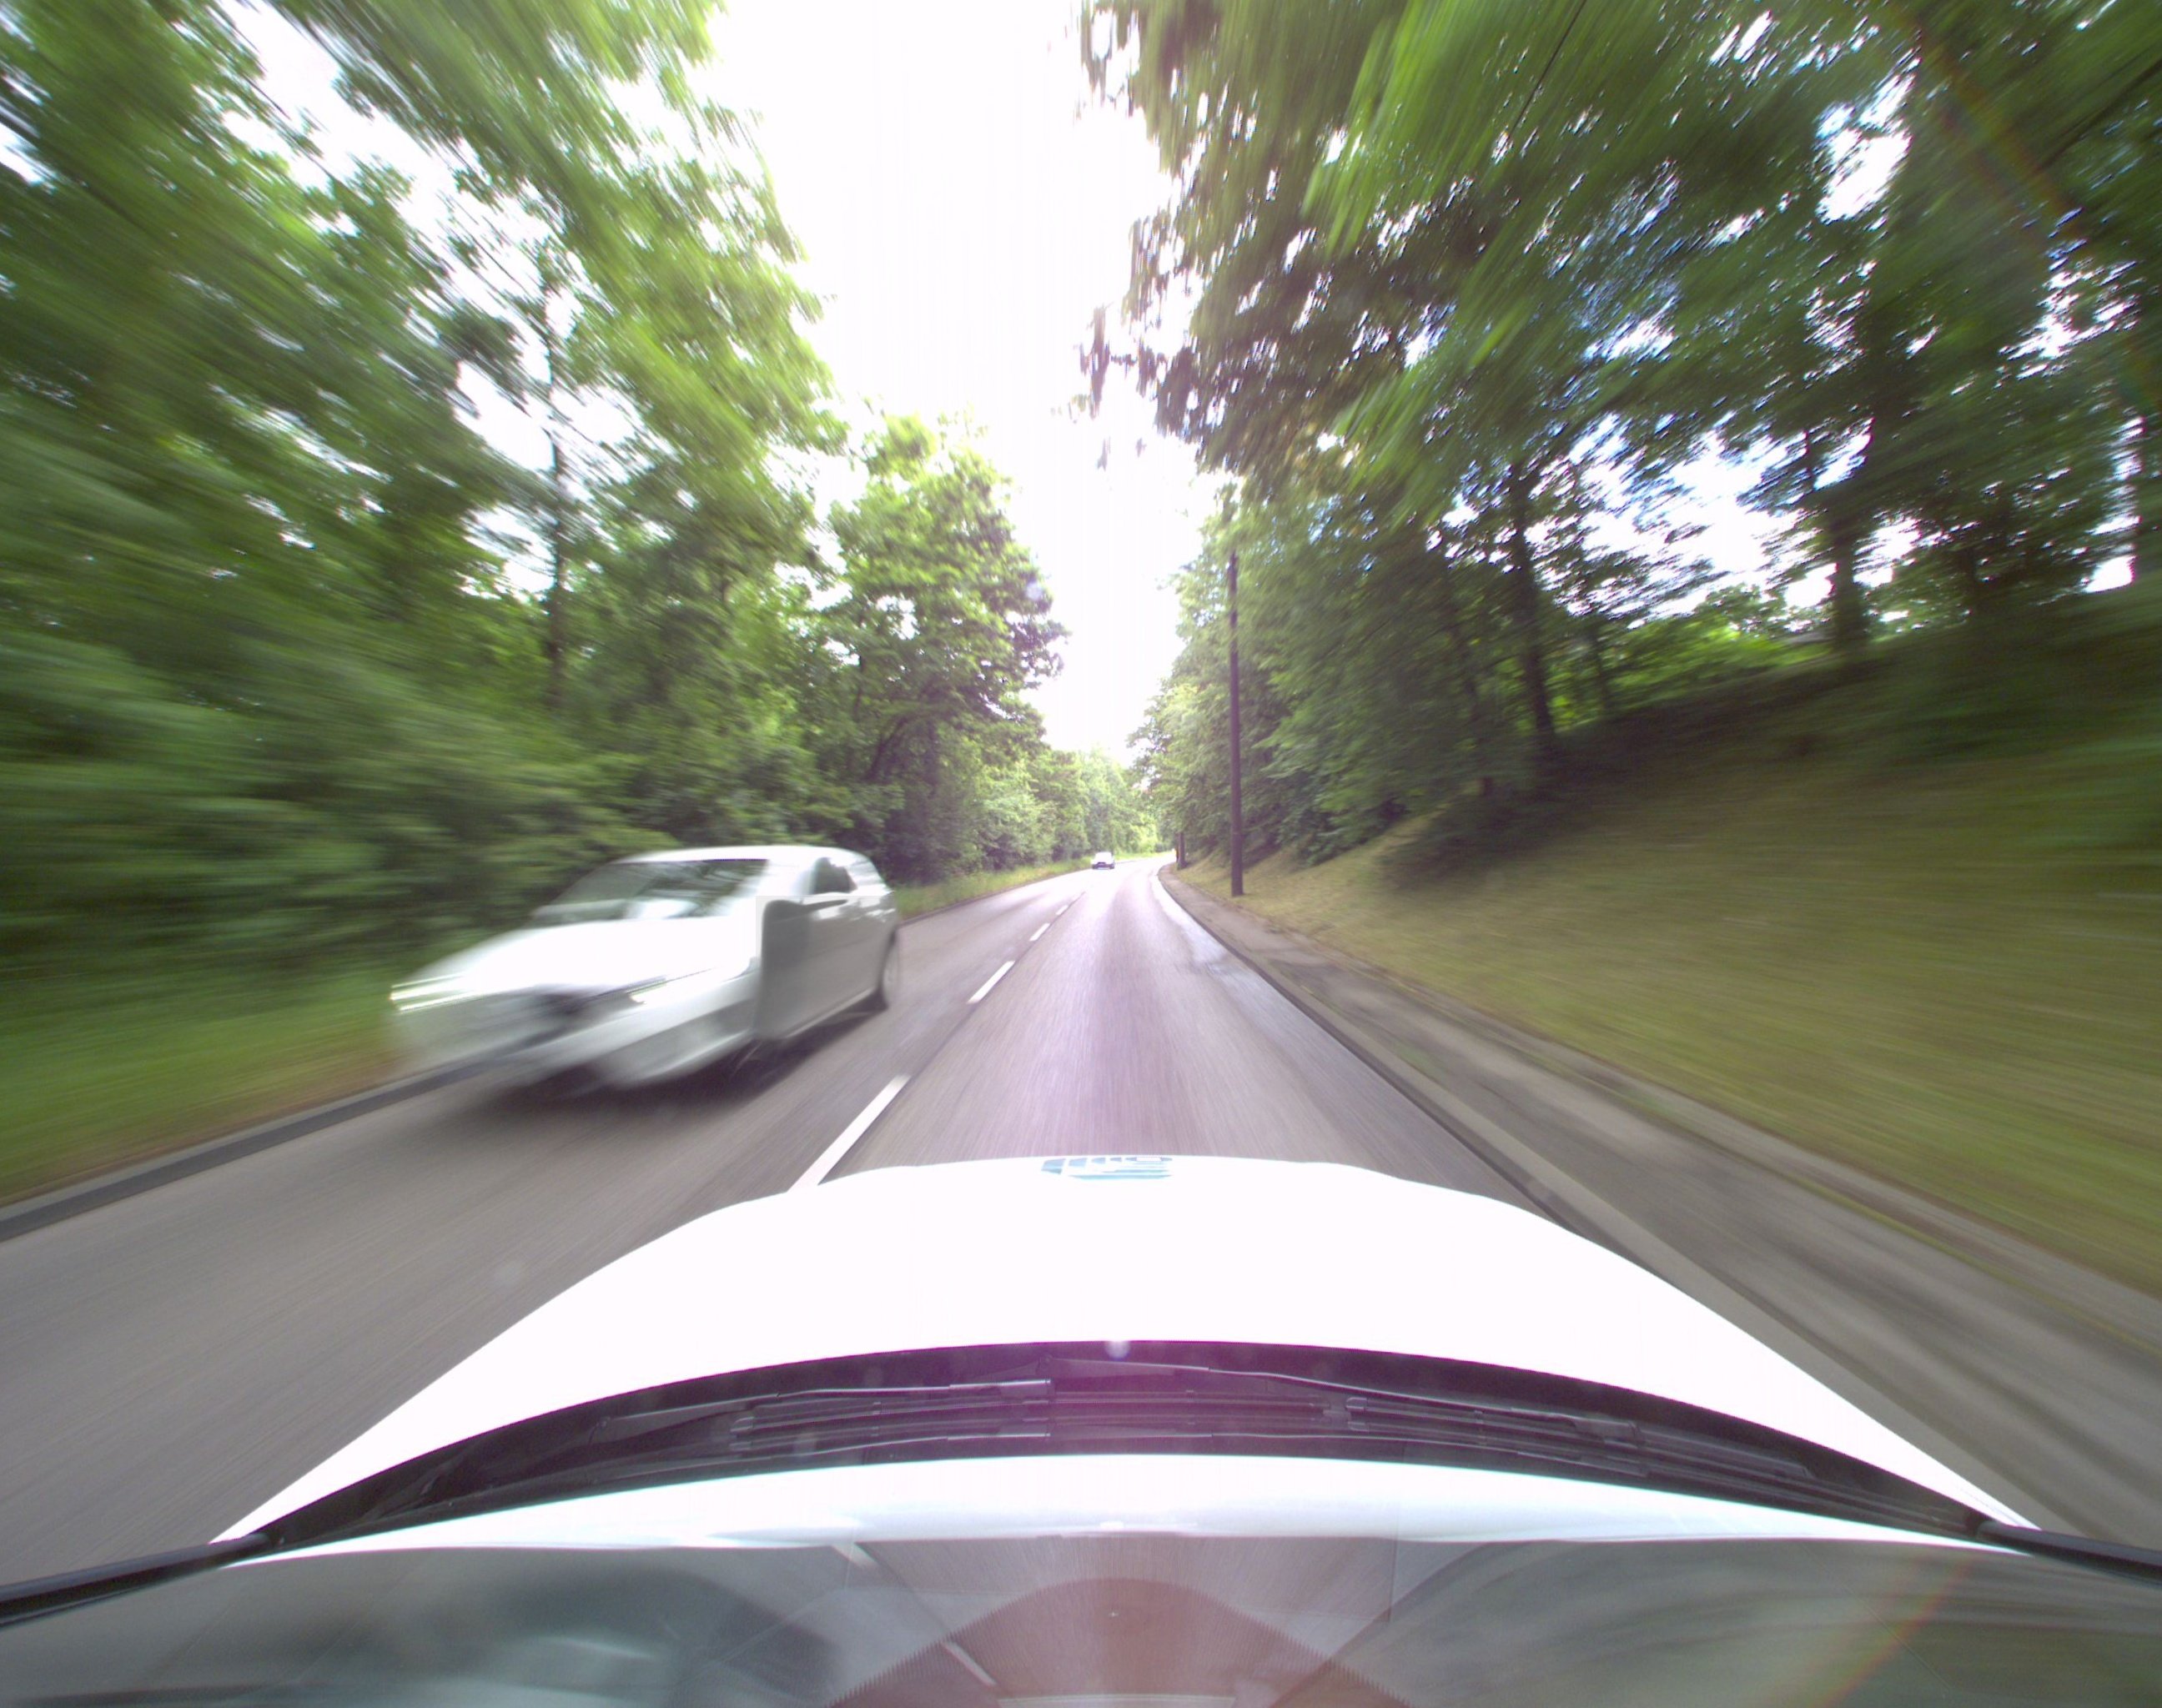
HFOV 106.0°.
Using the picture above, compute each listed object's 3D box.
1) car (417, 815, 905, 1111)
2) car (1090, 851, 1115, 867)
[{"bbox_3d":[-2.876,0.652,6.834,1.813,1.695,4.287,0,-1,1],"label":"car"},{"bbox_3d":[1.927,0.481,74.306,1.989,1.437,3.995,0,-1,-4],"label":"car"}]
